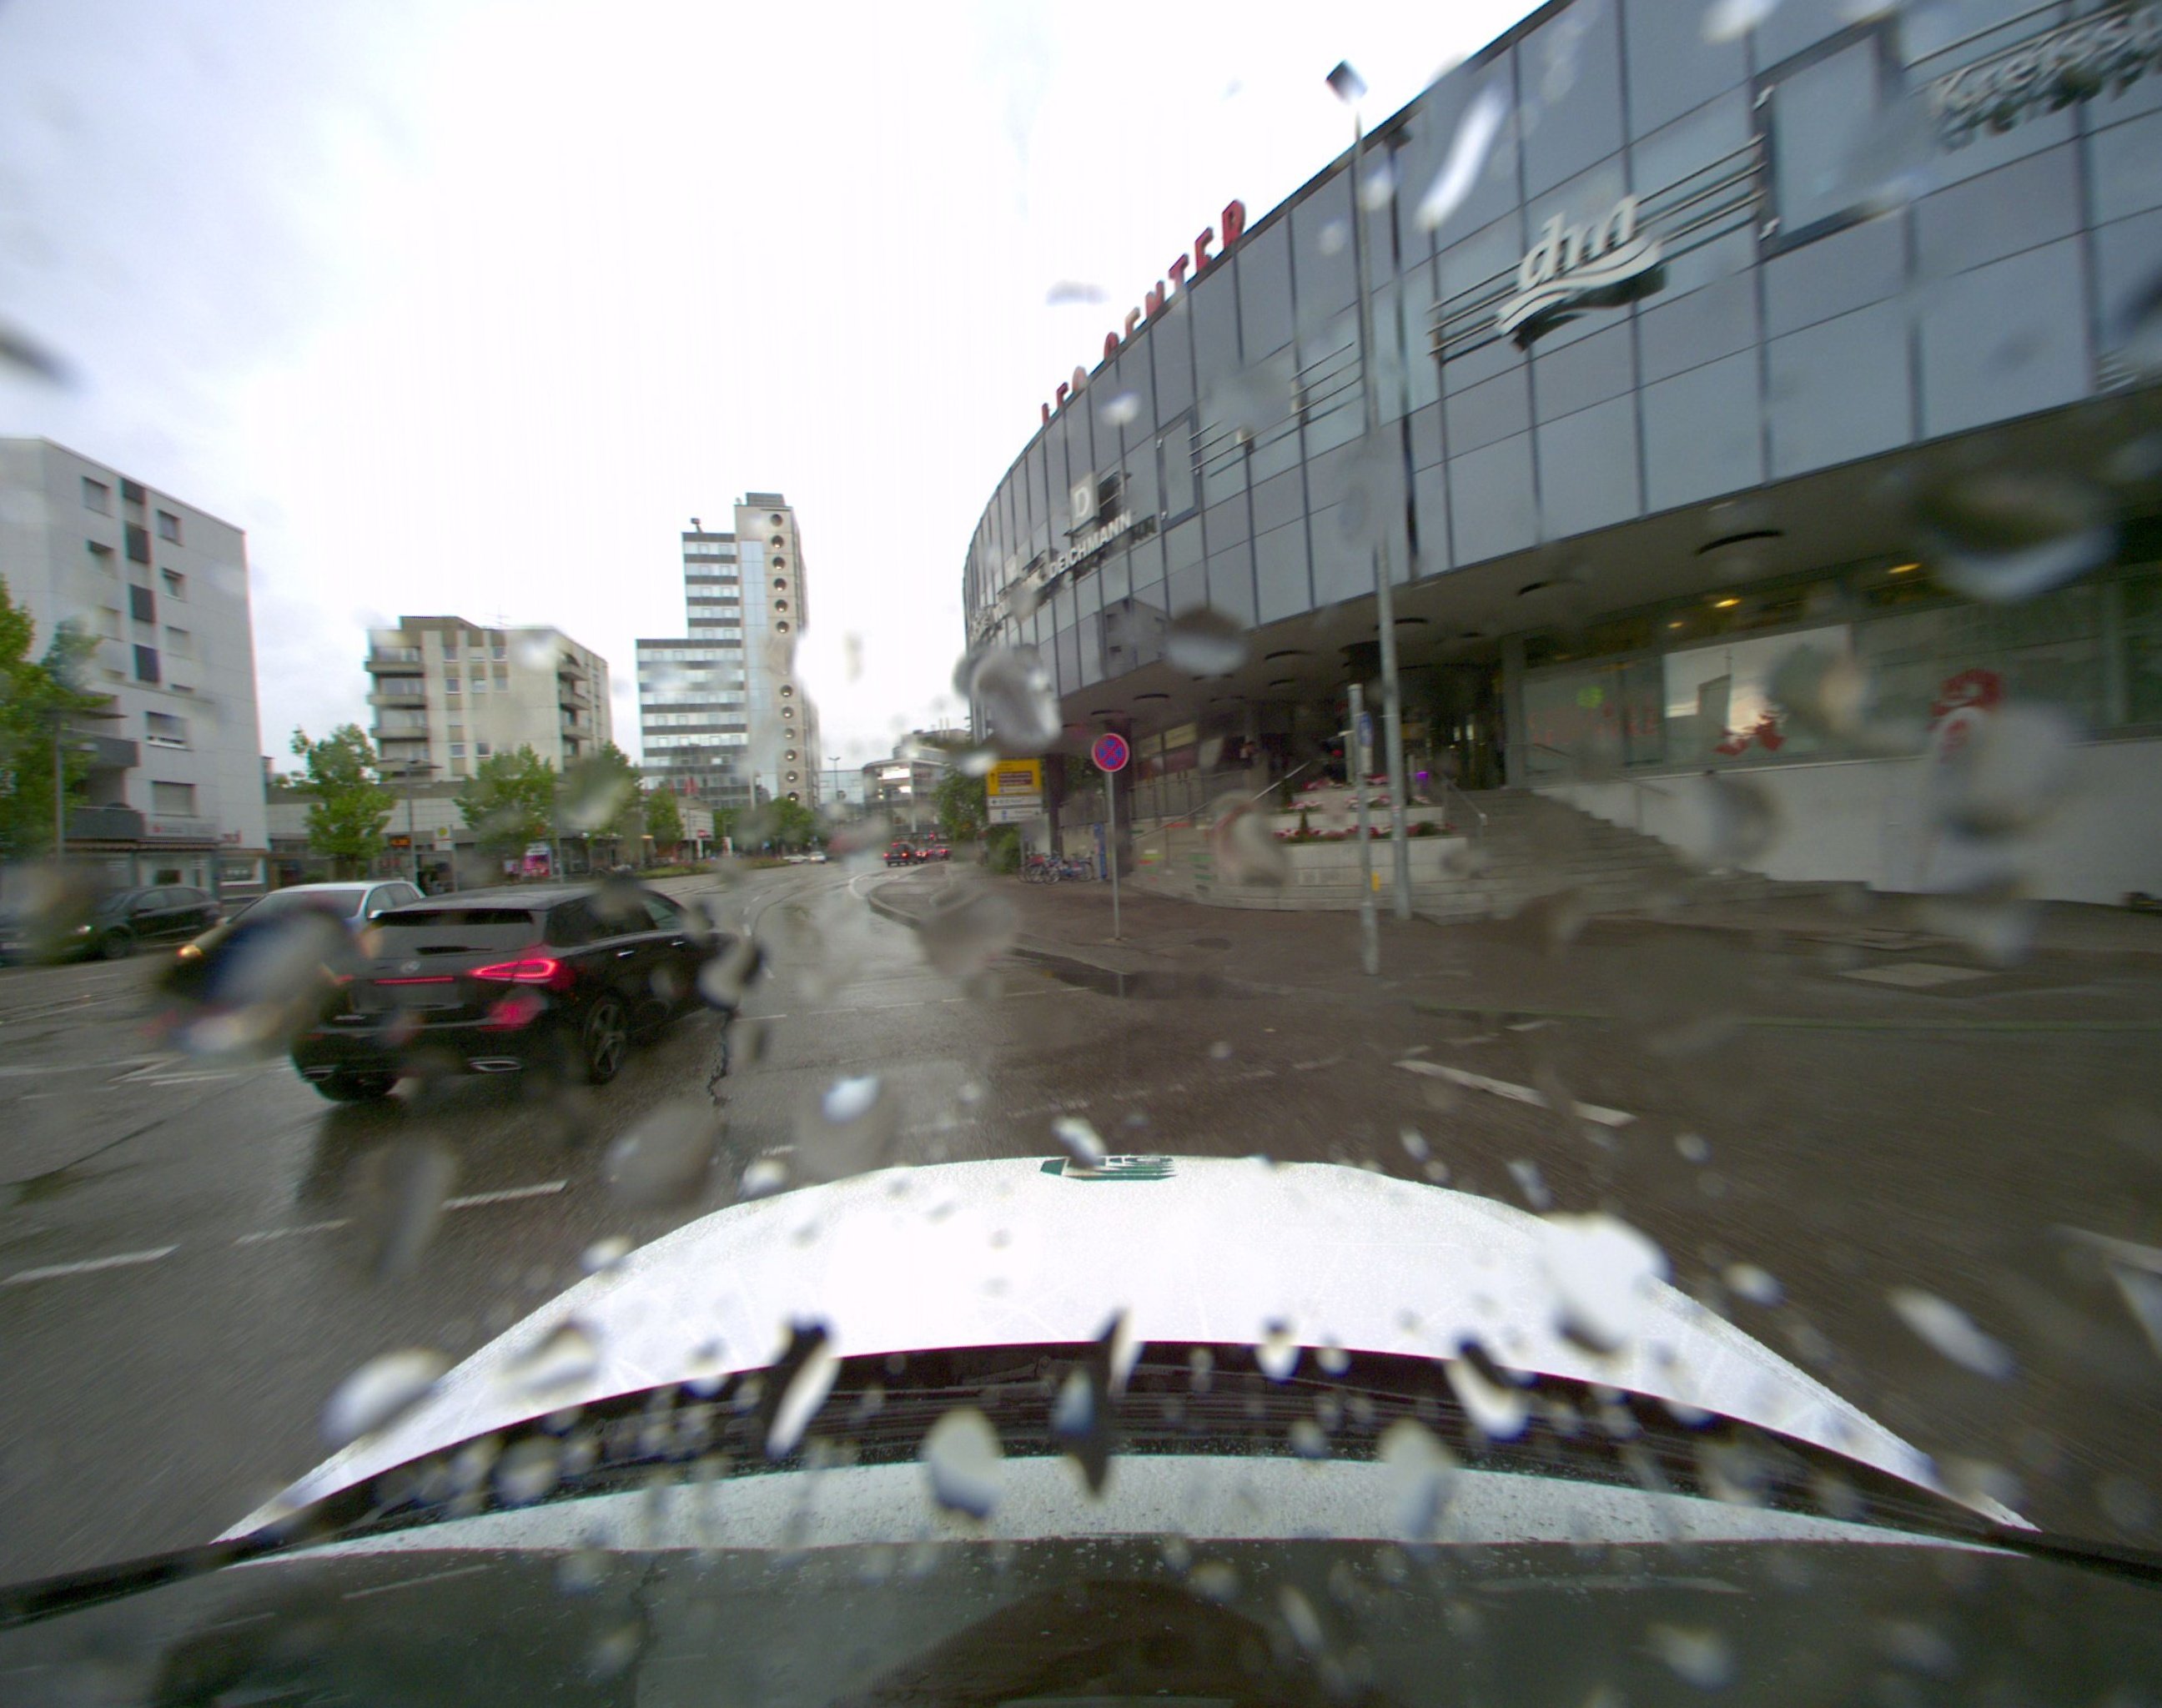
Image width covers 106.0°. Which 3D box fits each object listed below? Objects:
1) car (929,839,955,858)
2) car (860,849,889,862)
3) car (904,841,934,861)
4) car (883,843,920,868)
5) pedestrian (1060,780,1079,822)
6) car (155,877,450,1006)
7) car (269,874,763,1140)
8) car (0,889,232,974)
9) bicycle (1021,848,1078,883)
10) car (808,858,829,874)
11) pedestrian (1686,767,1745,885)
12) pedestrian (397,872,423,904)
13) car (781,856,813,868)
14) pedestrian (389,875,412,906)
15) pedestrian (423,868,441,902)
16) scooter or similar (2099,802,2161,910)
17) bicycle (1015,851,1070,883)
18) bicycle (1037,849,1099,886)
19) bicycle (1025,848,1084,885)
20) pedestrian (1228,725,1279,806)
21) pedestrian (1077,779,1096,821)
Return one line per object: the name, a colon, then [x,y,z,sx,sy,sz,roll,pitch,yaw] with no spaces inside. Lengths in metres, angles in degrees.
car: [-14.465,-0.616,85.048,1.903,1.724,3.811,-3,2,1]
car: [-29.669,0.183,116.875,3.887,1.517,1.776,-4,2,-15]
car: [-15.567,-0.311,78.387,1.880,1.671,4.002,-3,2,1]
car: [-15.622,0.113,71.038,2.035,1.895,4.142,-3,2,2]
pedestrian: [-0.481,-2.206,33.885,0.652,1.713,0.598,-3,2,-10]
car: [-11.731,1.189,12.686,1.746,1.441,3.967,-4,1,-19]
car: [-4.317,0.995,7.146,1.660,1.481,4.087,-3,0,-5]
car: [-20.159,1.534,17.079,1.438,1.297,3.758,-3,1,-15]
bicycle: [-1.109,0.417,28.857,1.853,1.033,0.625,-6,1,-16]
car: [-30.020,1.381,93.311,1.692,1.631,3.500,-3,2,-9]
pedestrian: [10.615,-0.468,13.621,0.598,1.908,0.650,-4,2,-42]
pedestrian: [-34.590,1.737,41.973,0.797,1.571,0.632,-4,2,-21]
car: [-38.890,1.104,111.518,3.996,1.383,1.719,-4,2,-16]
pedestrian: [-34.390,1.850,41.152,0.636,1.470,0.632,-4,2,-21]
pedestrian: [-33.916,1.636,42.565,0.488,1.718,0.535,-4,2,-18]
scooter or similar: [13.984,0.015,10.405,1.155,1.372,0.492,-1,3,42]
bicycle: [-1.382,0.460,29.503,1.851,0.951,0.534,-6,2,-13]
bicycle: [-0.437,0.440,26.531,1.853,1.023,0.629,-6,1,-16]
bicycle: [-0.903,0.430,28.130,1.853,1.042,0.644,-6,1,-16]
pedestrian: [4.462,-2.270,21.074,0.953,2.013,0.826,-3,2,-22]
pedestrian: [0.225,-2.237,33.938,0.652,1.713,0.598,-3,2,-10]
